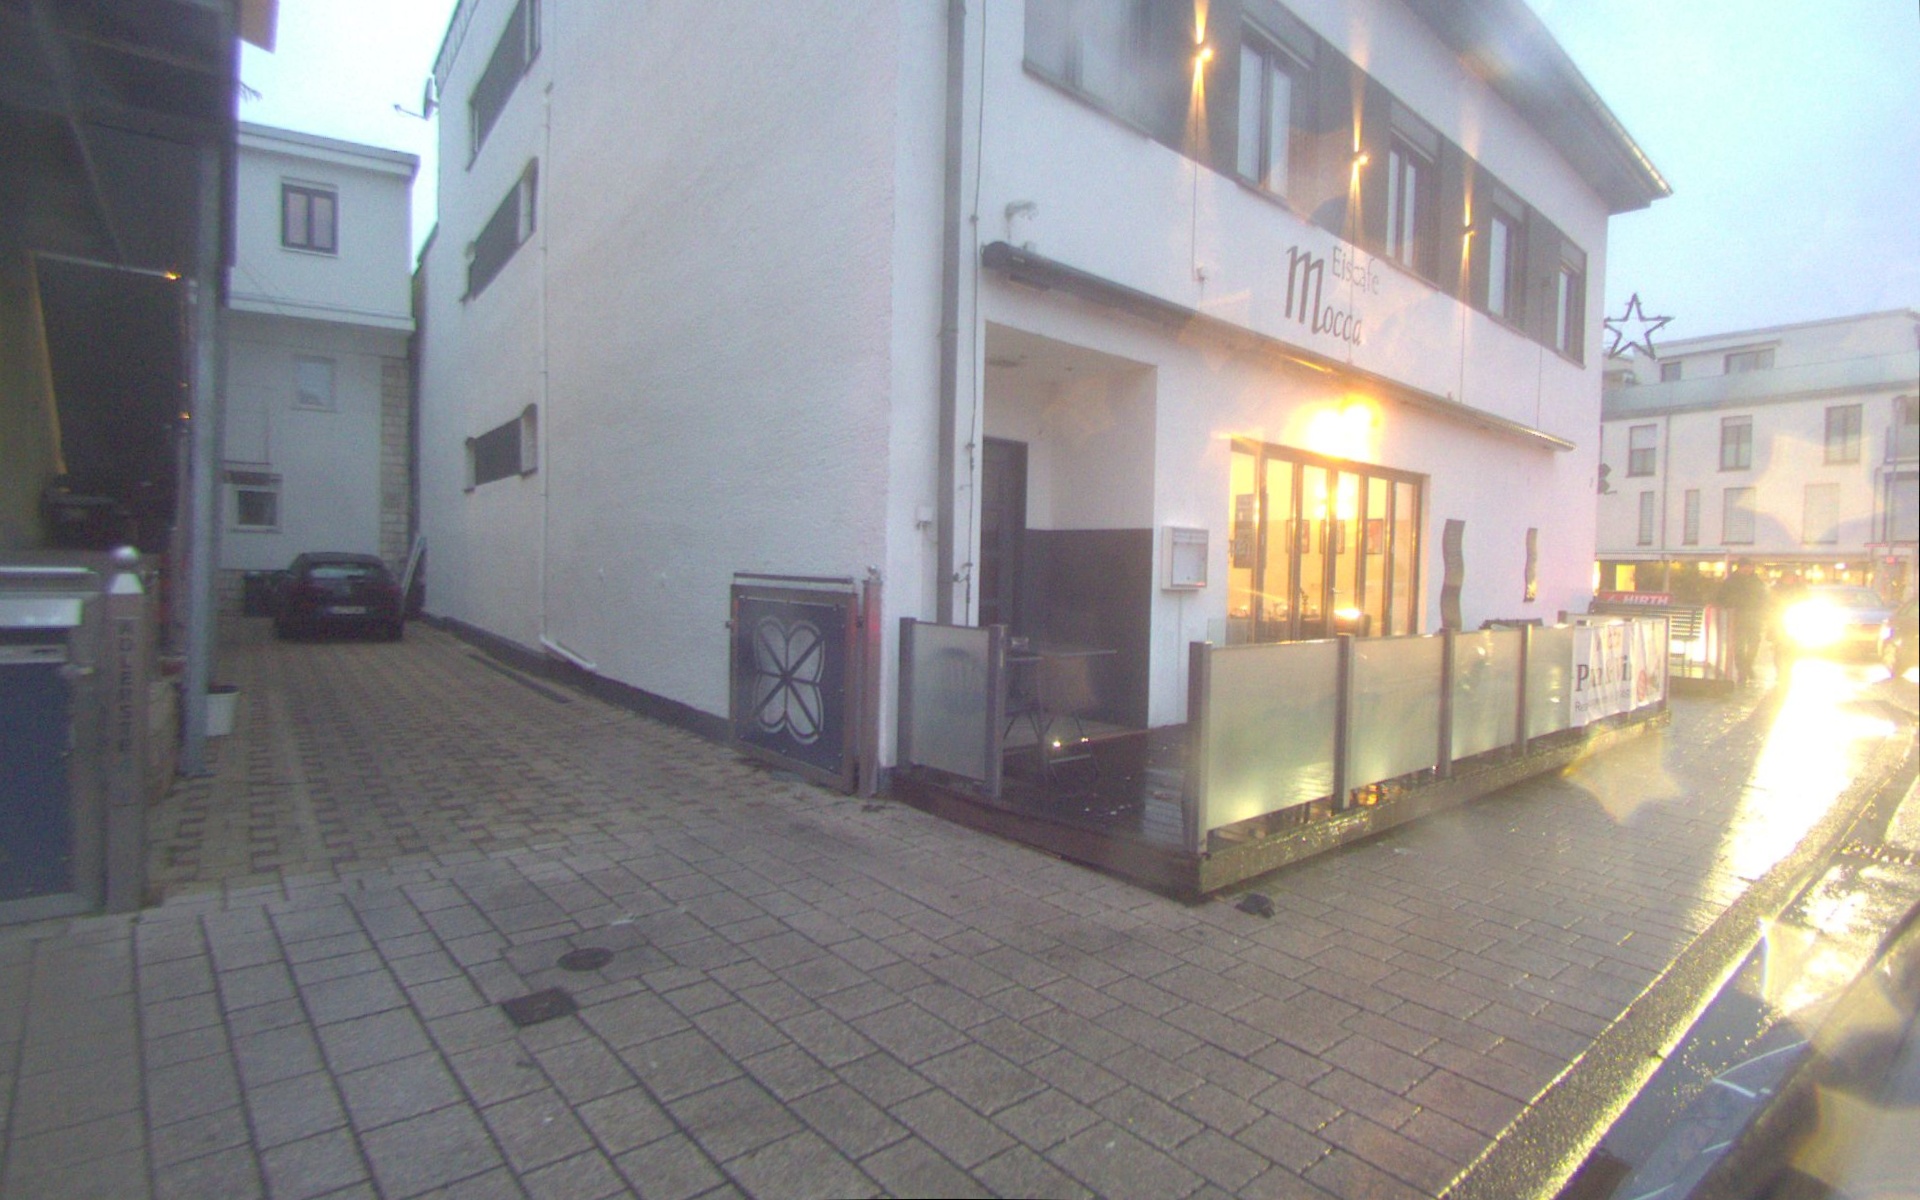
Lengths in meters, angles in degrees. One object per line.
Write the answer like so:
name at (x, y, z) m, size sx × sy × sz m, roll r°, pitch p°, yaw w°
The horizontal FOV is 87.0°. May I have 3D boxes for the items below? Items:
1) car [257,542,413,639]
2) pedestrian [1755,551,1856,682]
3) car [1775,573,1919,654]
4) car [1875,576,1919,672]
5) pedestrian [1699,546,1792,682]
car at (-11.043, -0.214, 17.764) m, size 1.901 × 1.433 × 3.962 m, roll 3°, pitch 2°, yaw -37°
pedestrian at (11.969, 0.220, 14.347) m, size 0.754 × 1.783 × 0.791 m, roll -1°, pitch 1°, yaw 3°
car at (19.382, 0.225, 22.111) m, size 2.014 × 1.497 × 4.505 m, roll 0°, pitch 2°, yaw 34°
car at (15.831, 0.391, 15.284) m, size 1.744 × 1.498 × 3.989 m, roll 0°, pitch 1°, yaw 23°
pedestrian at (11.222, 0.184, 14.484) m, size 0.696 × 1.889 × 0.791 m, roll -1°, pitch 1°, yaw 3°
